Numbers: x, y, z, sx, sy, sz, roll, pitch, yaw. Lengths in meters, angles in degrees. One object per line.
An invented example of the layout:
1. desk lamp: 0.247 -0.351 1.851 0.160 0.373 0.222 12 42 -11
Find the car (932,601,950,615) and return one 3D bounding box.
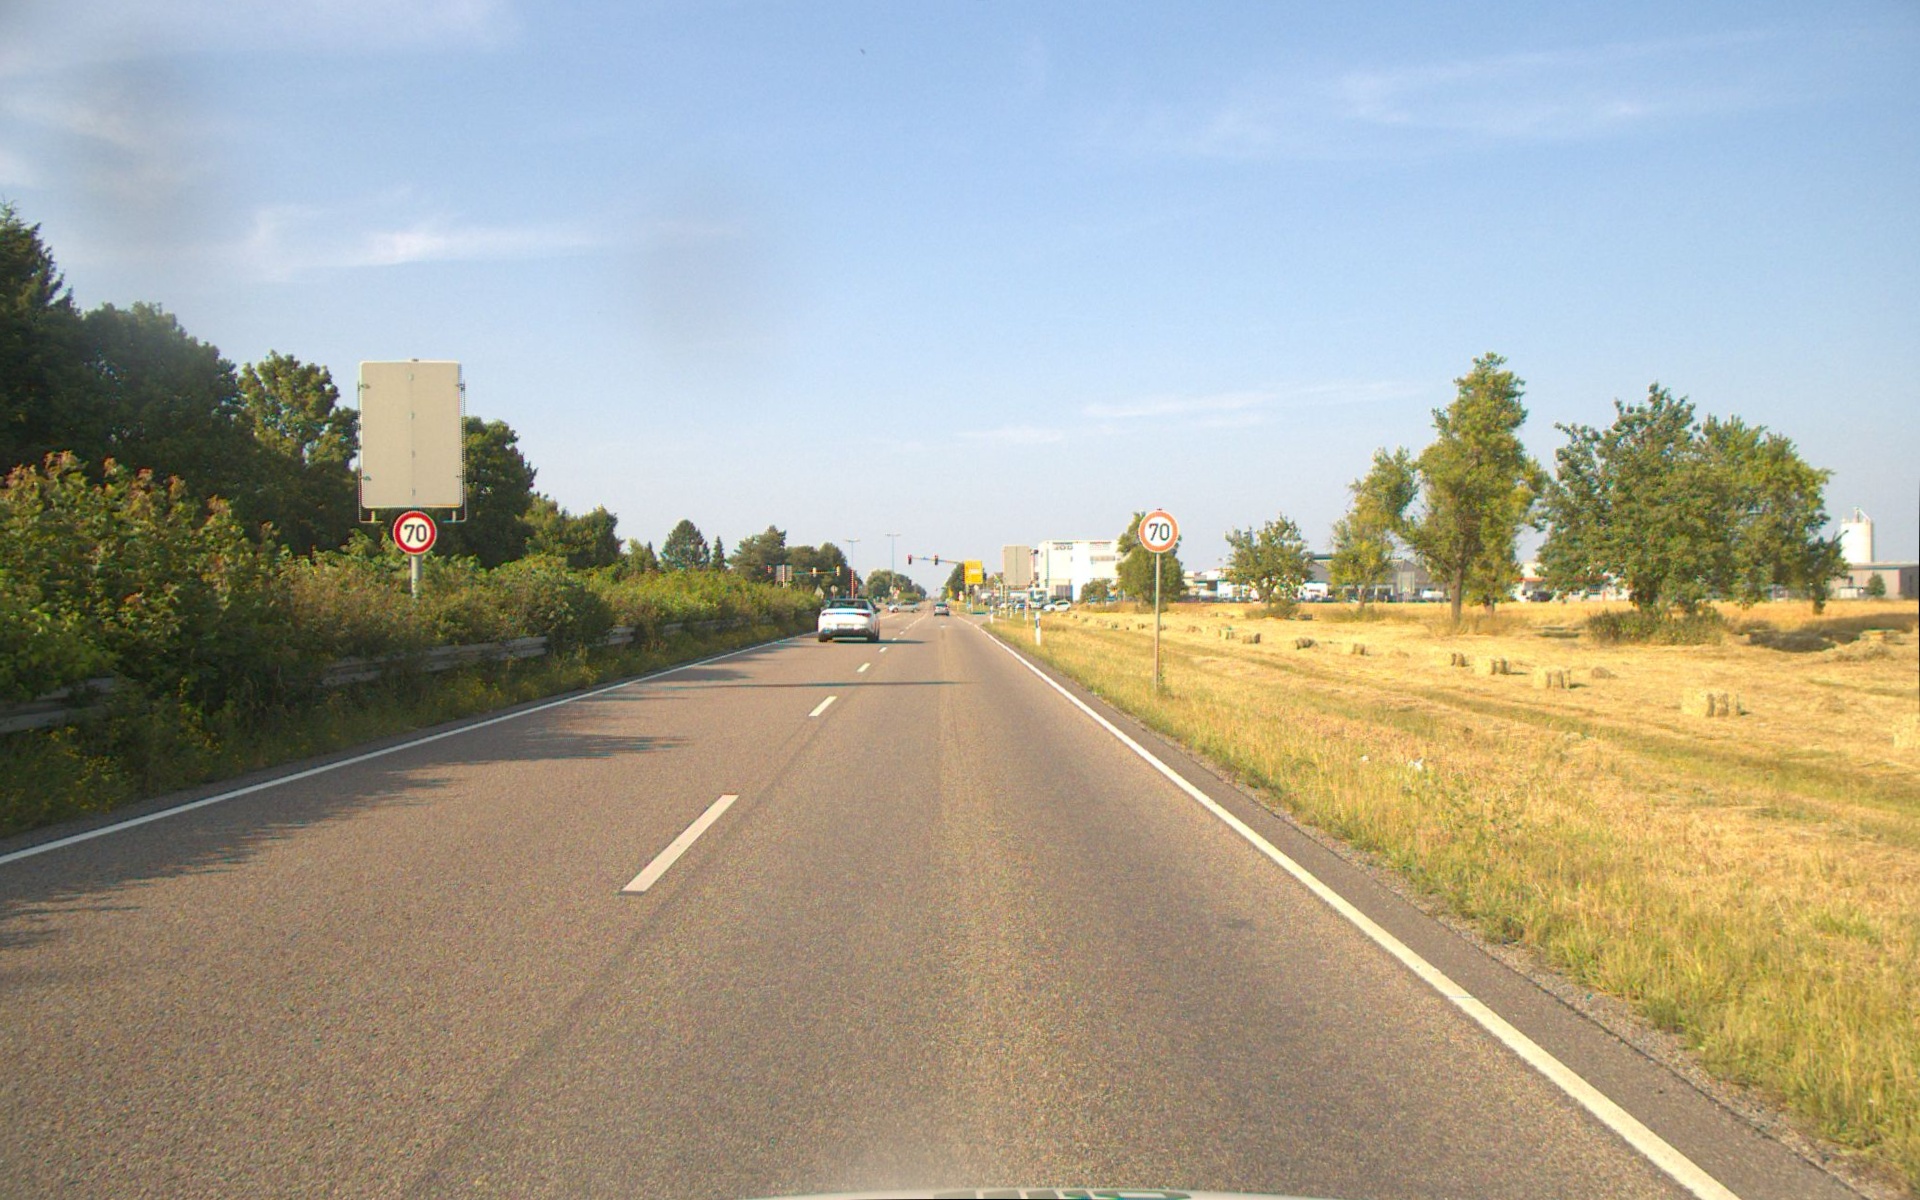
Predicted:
1. car: -2.107 0.850 186.006 1.953 1.512 3.999 1 0 -2

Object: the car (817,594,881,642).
1. car: -3.556 0.559 53.523 1.871 1.447 3.999 1 0 -2

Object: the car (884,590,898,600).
1. car: -10.387 -0.767 248.827 1.908 1.432 4.000 1 0 0

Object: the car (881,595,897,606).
1. car: -9.594 0.057 224.144 1.908 1.432 4.000 1 0 0

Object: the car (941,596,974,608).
1. car: -0.306 0.253 212.793 3.929 1.432 1.942 1 0 -21
